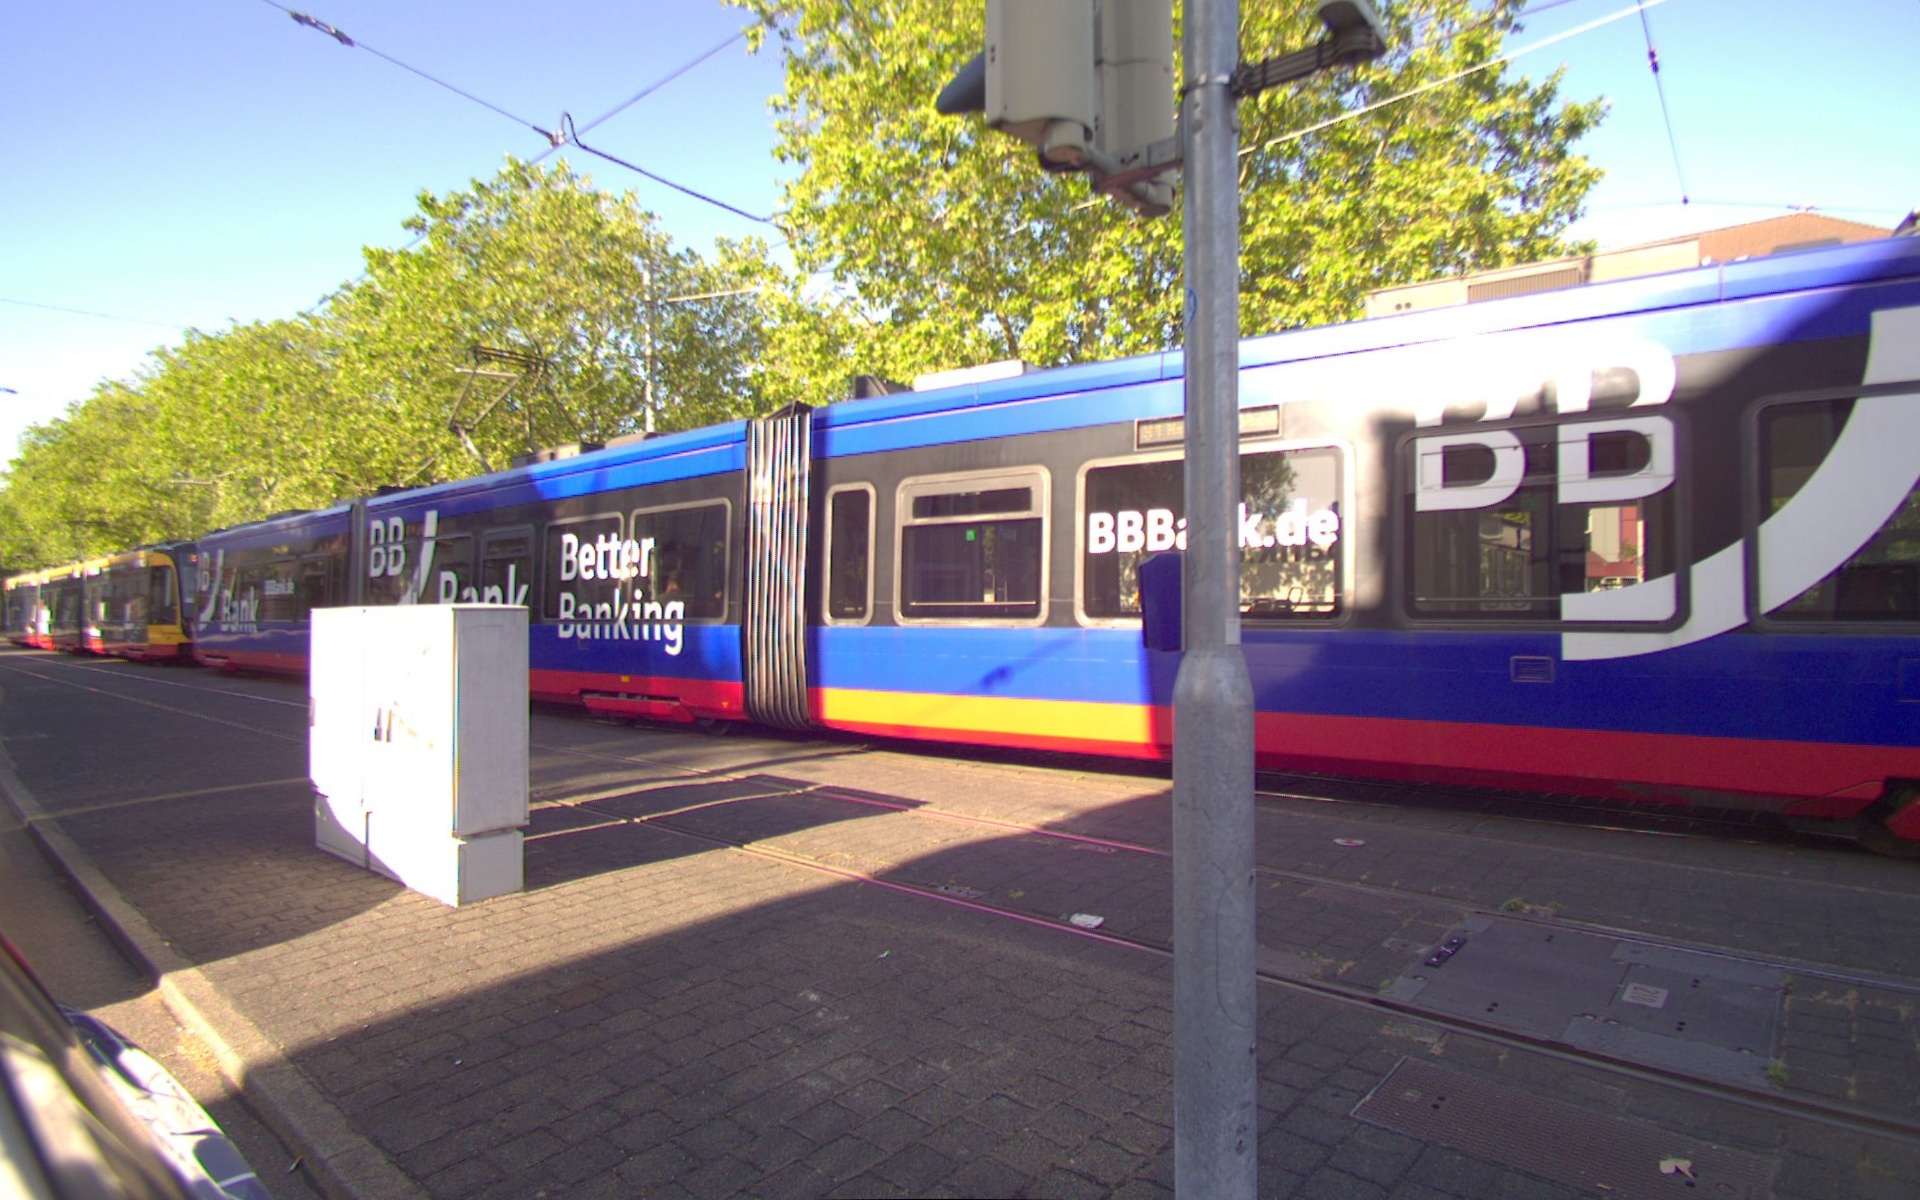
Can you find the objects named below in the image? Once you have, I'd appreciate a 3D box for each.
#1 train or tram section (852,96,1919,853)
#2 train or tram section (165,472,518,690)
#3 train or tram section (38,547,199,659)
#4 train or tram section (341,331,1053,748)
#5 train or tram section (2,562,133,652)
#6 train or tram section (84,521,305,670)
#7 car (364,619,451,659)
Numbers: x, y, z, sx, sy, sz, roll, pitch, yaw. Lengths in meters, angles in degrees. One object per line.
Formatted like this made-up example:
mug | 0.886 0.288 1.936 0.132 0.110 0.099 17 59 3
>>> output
train or tram section | 4.882 -0.581 6.524 12.084 3.640 3.029 -1 -1 35
train or tram section | -13.952 -0.206 22.035 12.107 3.640 3.024 -1 -1 41
train or tram section | -31.889 0.204 38.075 11.947 3.640 3.022 -1 -2 42
train or tram section | -4.681 -0.414 14.063 12.494 3.640 3.024 -1 -1 41
train or tram section | -41.131 0.420 46.399 12.885 3.640 3.022 -1 -2 42
train or tram section | -23.016 0.001 30.009 12.112 3.640 3.022 -1 -2 42
car | -21.905 1.518 40.098 4.000 1.497 1.857 -1 -2 43
